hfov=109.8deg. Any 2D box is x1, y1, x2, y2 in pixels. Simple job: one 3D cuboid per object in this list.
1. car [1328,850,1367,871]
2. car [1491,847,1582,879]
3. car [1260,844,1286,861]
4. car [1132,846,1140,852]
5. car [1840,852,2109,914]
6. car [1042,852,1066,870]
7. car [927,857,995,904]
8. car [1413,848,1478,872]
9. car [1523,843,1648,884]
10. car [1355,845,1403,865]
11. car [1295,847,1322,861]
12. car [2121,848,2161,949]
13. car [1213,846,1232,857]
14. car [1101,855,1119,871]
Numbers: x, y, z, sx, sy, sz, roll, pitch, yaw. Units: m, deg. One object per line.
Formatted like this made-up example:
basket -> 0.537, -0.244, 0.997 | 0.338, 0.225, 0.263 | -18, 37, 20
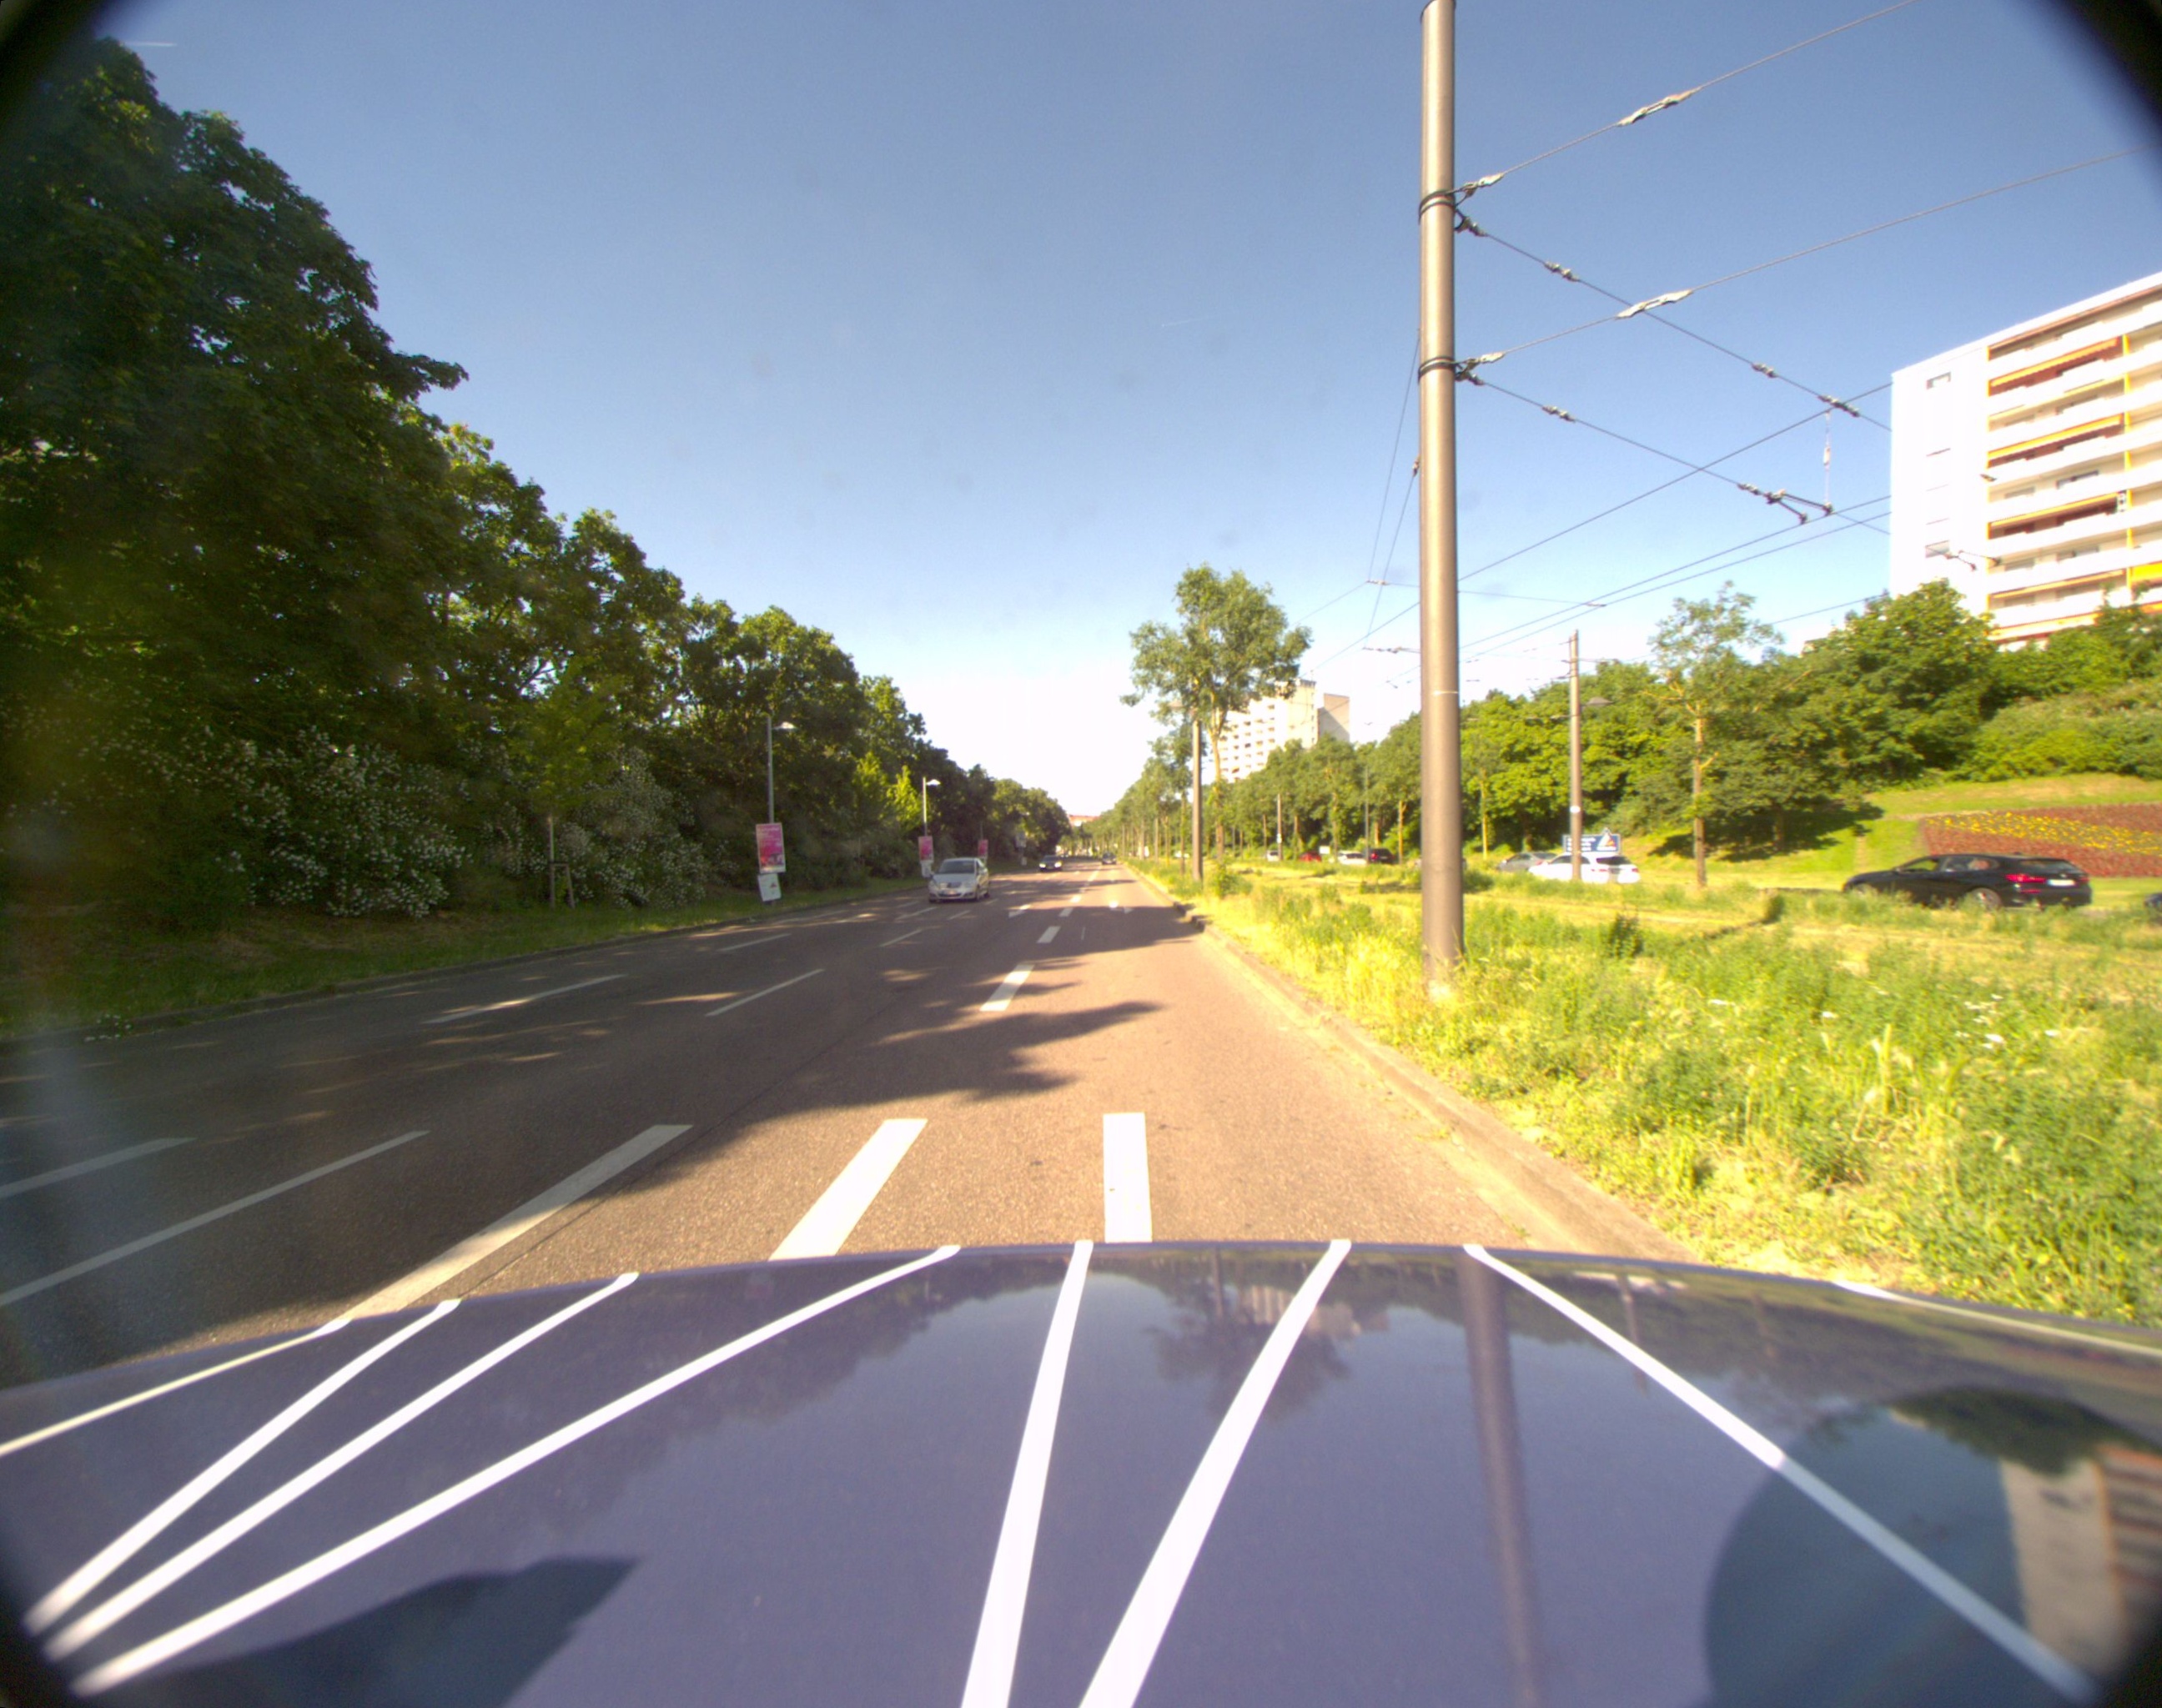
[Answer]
car -> 19.363, 0.507, 55.330 | 1.592, 1.464, 4.184 | 1, -1, 3
car -> 22.235, 0.399, 37.316 | 1.998, 1.366, 4.400 | -2, 1, 3
car -> 19.498, -0.175, 77.202 | 1.767, 1.599, 3.758 | 0, 1, 2
car -> 14.661, -1.433, 202.931 | 1.998, 1.575, 5.273 | -2, 1, 2
car -> 21.542, 0.628, 18.622 | 1.866, 1.334, 4.031 | 0, 1, 1
car -> -2.294, 0.569, 66.108 | 1.831, 1.401, 4.216 | -2, 1, 1
car -> -4.417, 0.919, 28.518 | 1.672, 1.531, 4.060 | -3, 0, 3
car -> 22.924, 0.344, 47.993 | 1.998, 1.424, 4.693 | 0, 1, 2
car -> 18.774, 0.298, 28.571 | 1.707, 1.415, 4.643 | 0, 1, 2
car -> 23.043, 0.044, 58.983 | 1.998, 1.472, 4.631 | -2, 1, 2
car -> 22.749, 0.004, 76.113 | 1.661, 1.290, 4.177 | -2, 1, 3
car -> 17.880, 0.717, 10.148 | 1.998, 1.585, 4.465 | 0, 1, 4
car -> 19.422, -0.361, 104.700 | 1.998, 1.401, 4.991 | -2, 1, 4
car -> 3.457, 1.047, 90.921 | 1.998, 1.696, 3.999 | -2, 1, 1
